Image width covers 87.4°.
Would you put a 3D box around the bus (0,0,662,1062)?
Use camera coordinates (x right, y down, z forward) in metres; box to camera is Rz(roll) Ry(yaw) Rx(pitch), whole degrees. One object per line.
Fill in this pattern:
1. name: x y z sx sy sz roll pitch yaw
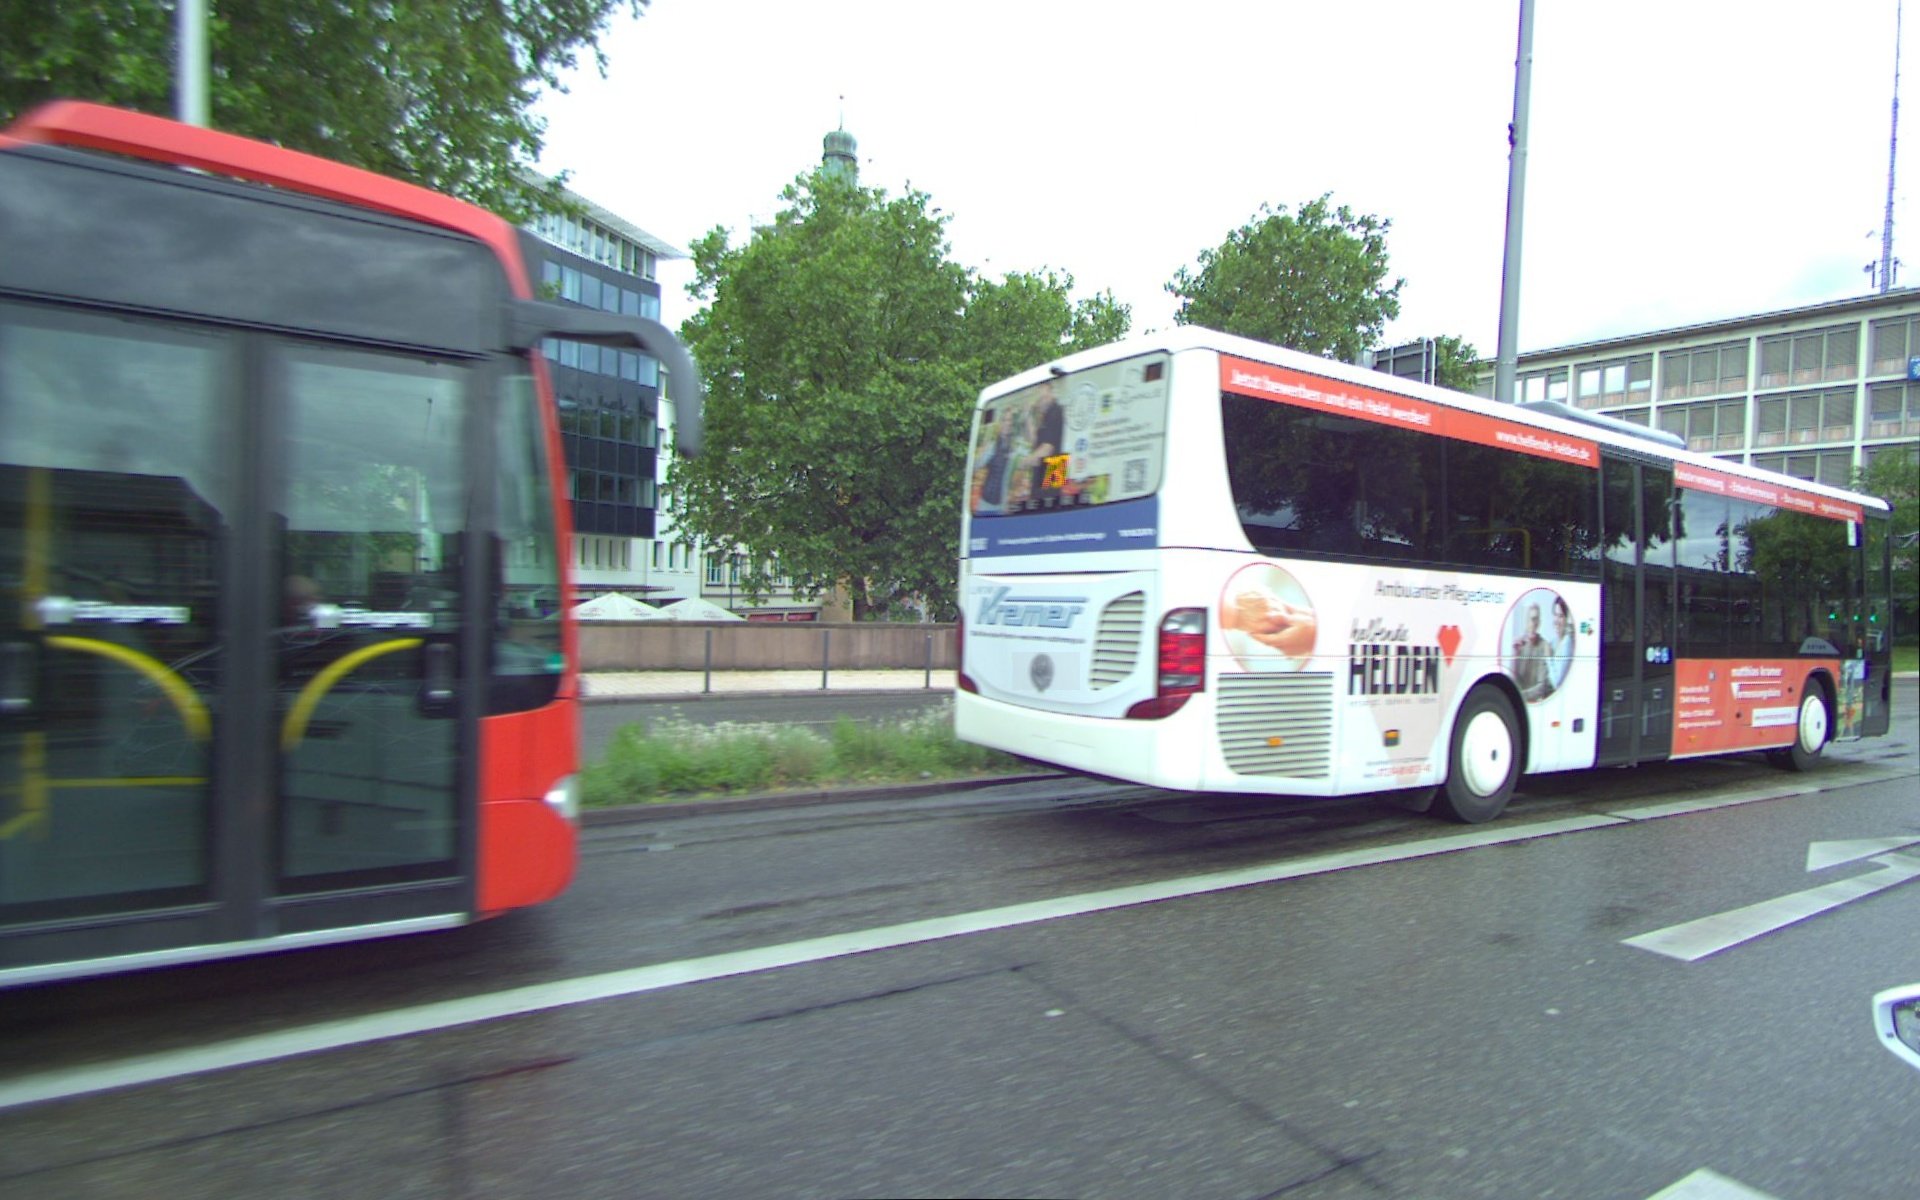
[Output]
1. bus: -5.596 -0.319 2.773 8.741 3.174 2.738 1 0 -31

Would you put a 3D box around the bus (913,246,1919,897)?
1. bus: 5.651 -0.031 9.999 12.423 3.485 2.938 1 0 -33
